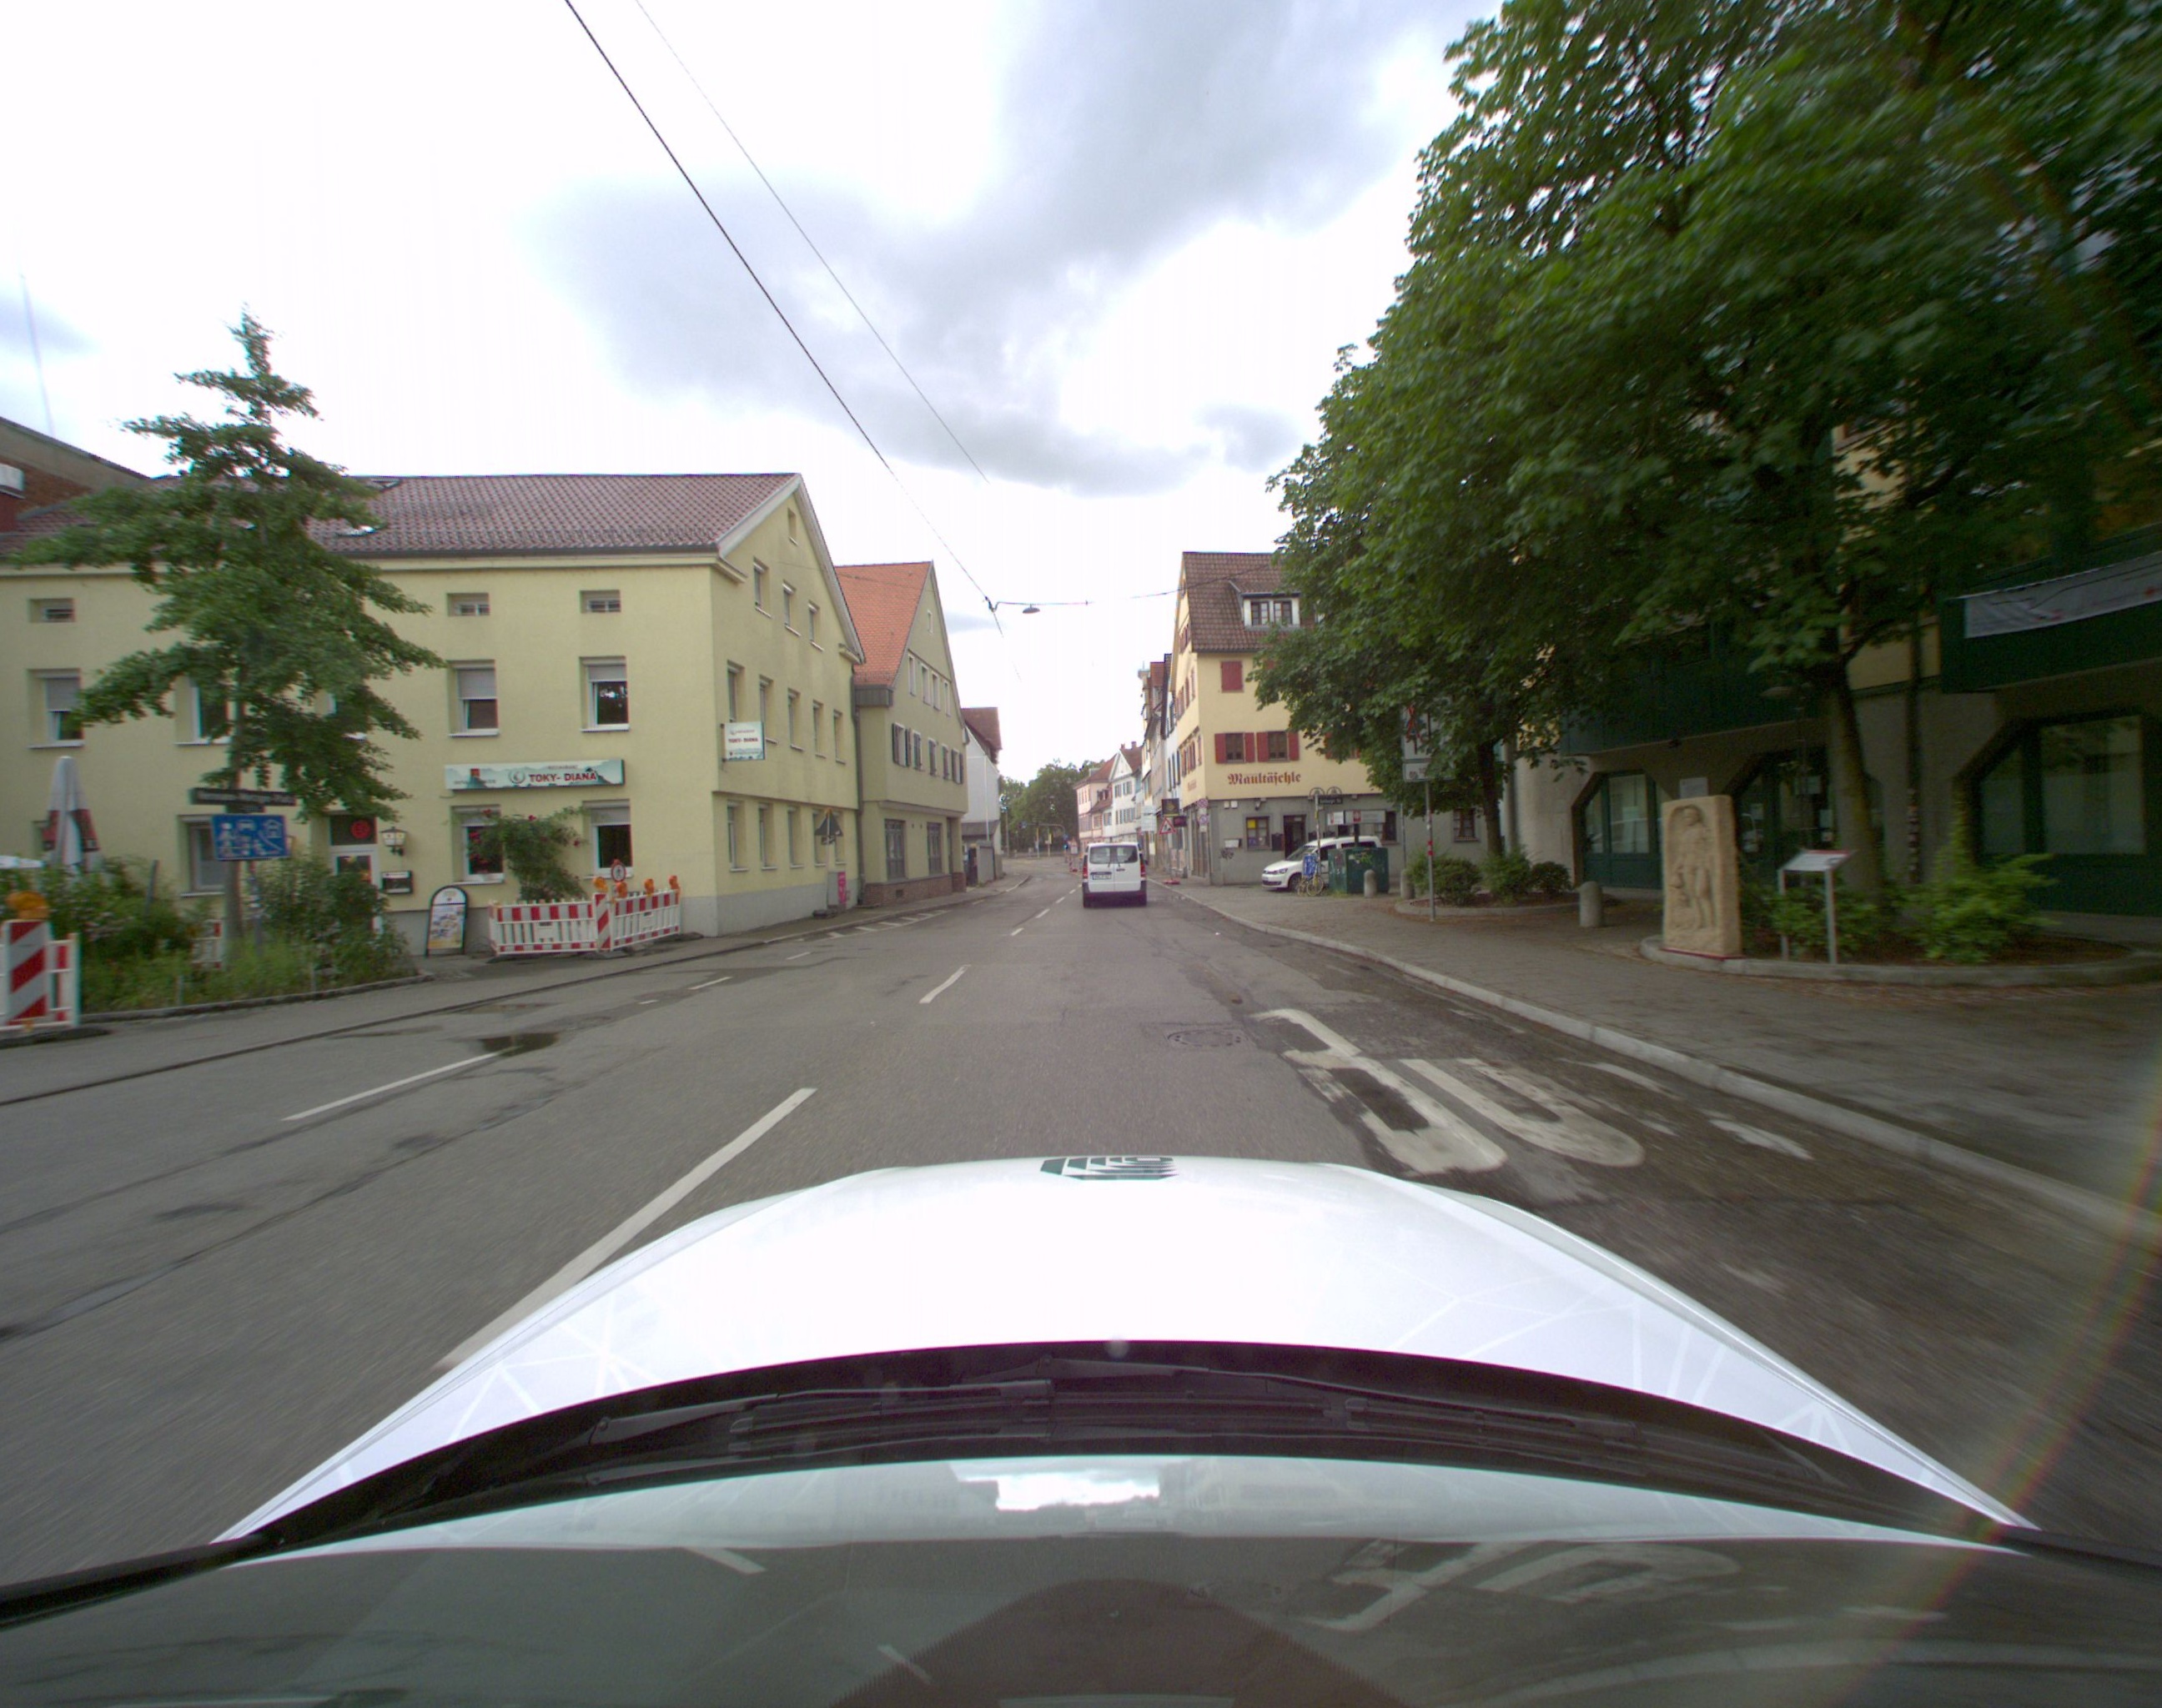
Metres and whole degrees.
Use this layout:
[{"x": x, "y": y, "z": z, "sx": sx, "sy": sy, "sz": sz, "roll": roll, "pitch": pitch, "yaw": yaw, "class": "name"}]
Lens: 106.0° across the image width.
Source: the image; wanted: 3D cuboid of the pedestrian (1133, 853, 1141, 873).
[{"x": 4.983, "y": 0.780, "z": 72.858, "sx": 0.641, "sy": 1.747, "sz": 0.562, "roll": -1, "pitch": -1, "yaw": -3, "class": "pedestrian"}]

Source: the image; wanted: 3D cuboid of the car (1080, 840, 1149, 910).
[{"x": 1.064, "y": 0.598, "z": 24.901, "sx": 1.865, "sy": 1.912, "sz": 4.003, "roll": -2, "pitch": 0, "yaw": 3, "class": "car"}]

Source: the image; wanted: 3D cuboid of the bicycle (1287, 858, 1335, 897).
[{"x": 6.876, "y": 0.699, "z": 24.426, "sx": 0.501, "sy": 1.106, "sz": 1.628, "roll": -3, "pitch": -1, "yaw": -18, "class": "bicycle"}]

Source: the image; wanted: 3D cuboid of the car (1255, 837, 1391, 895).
[{"x": 8.560, "y": 0.397, "z": 28.964, "sx": 4.237, "sy": 1.797, "sz": 1.844, "roll": -2, "pitch": 2, "yaw": -7, "class": "car"}]
